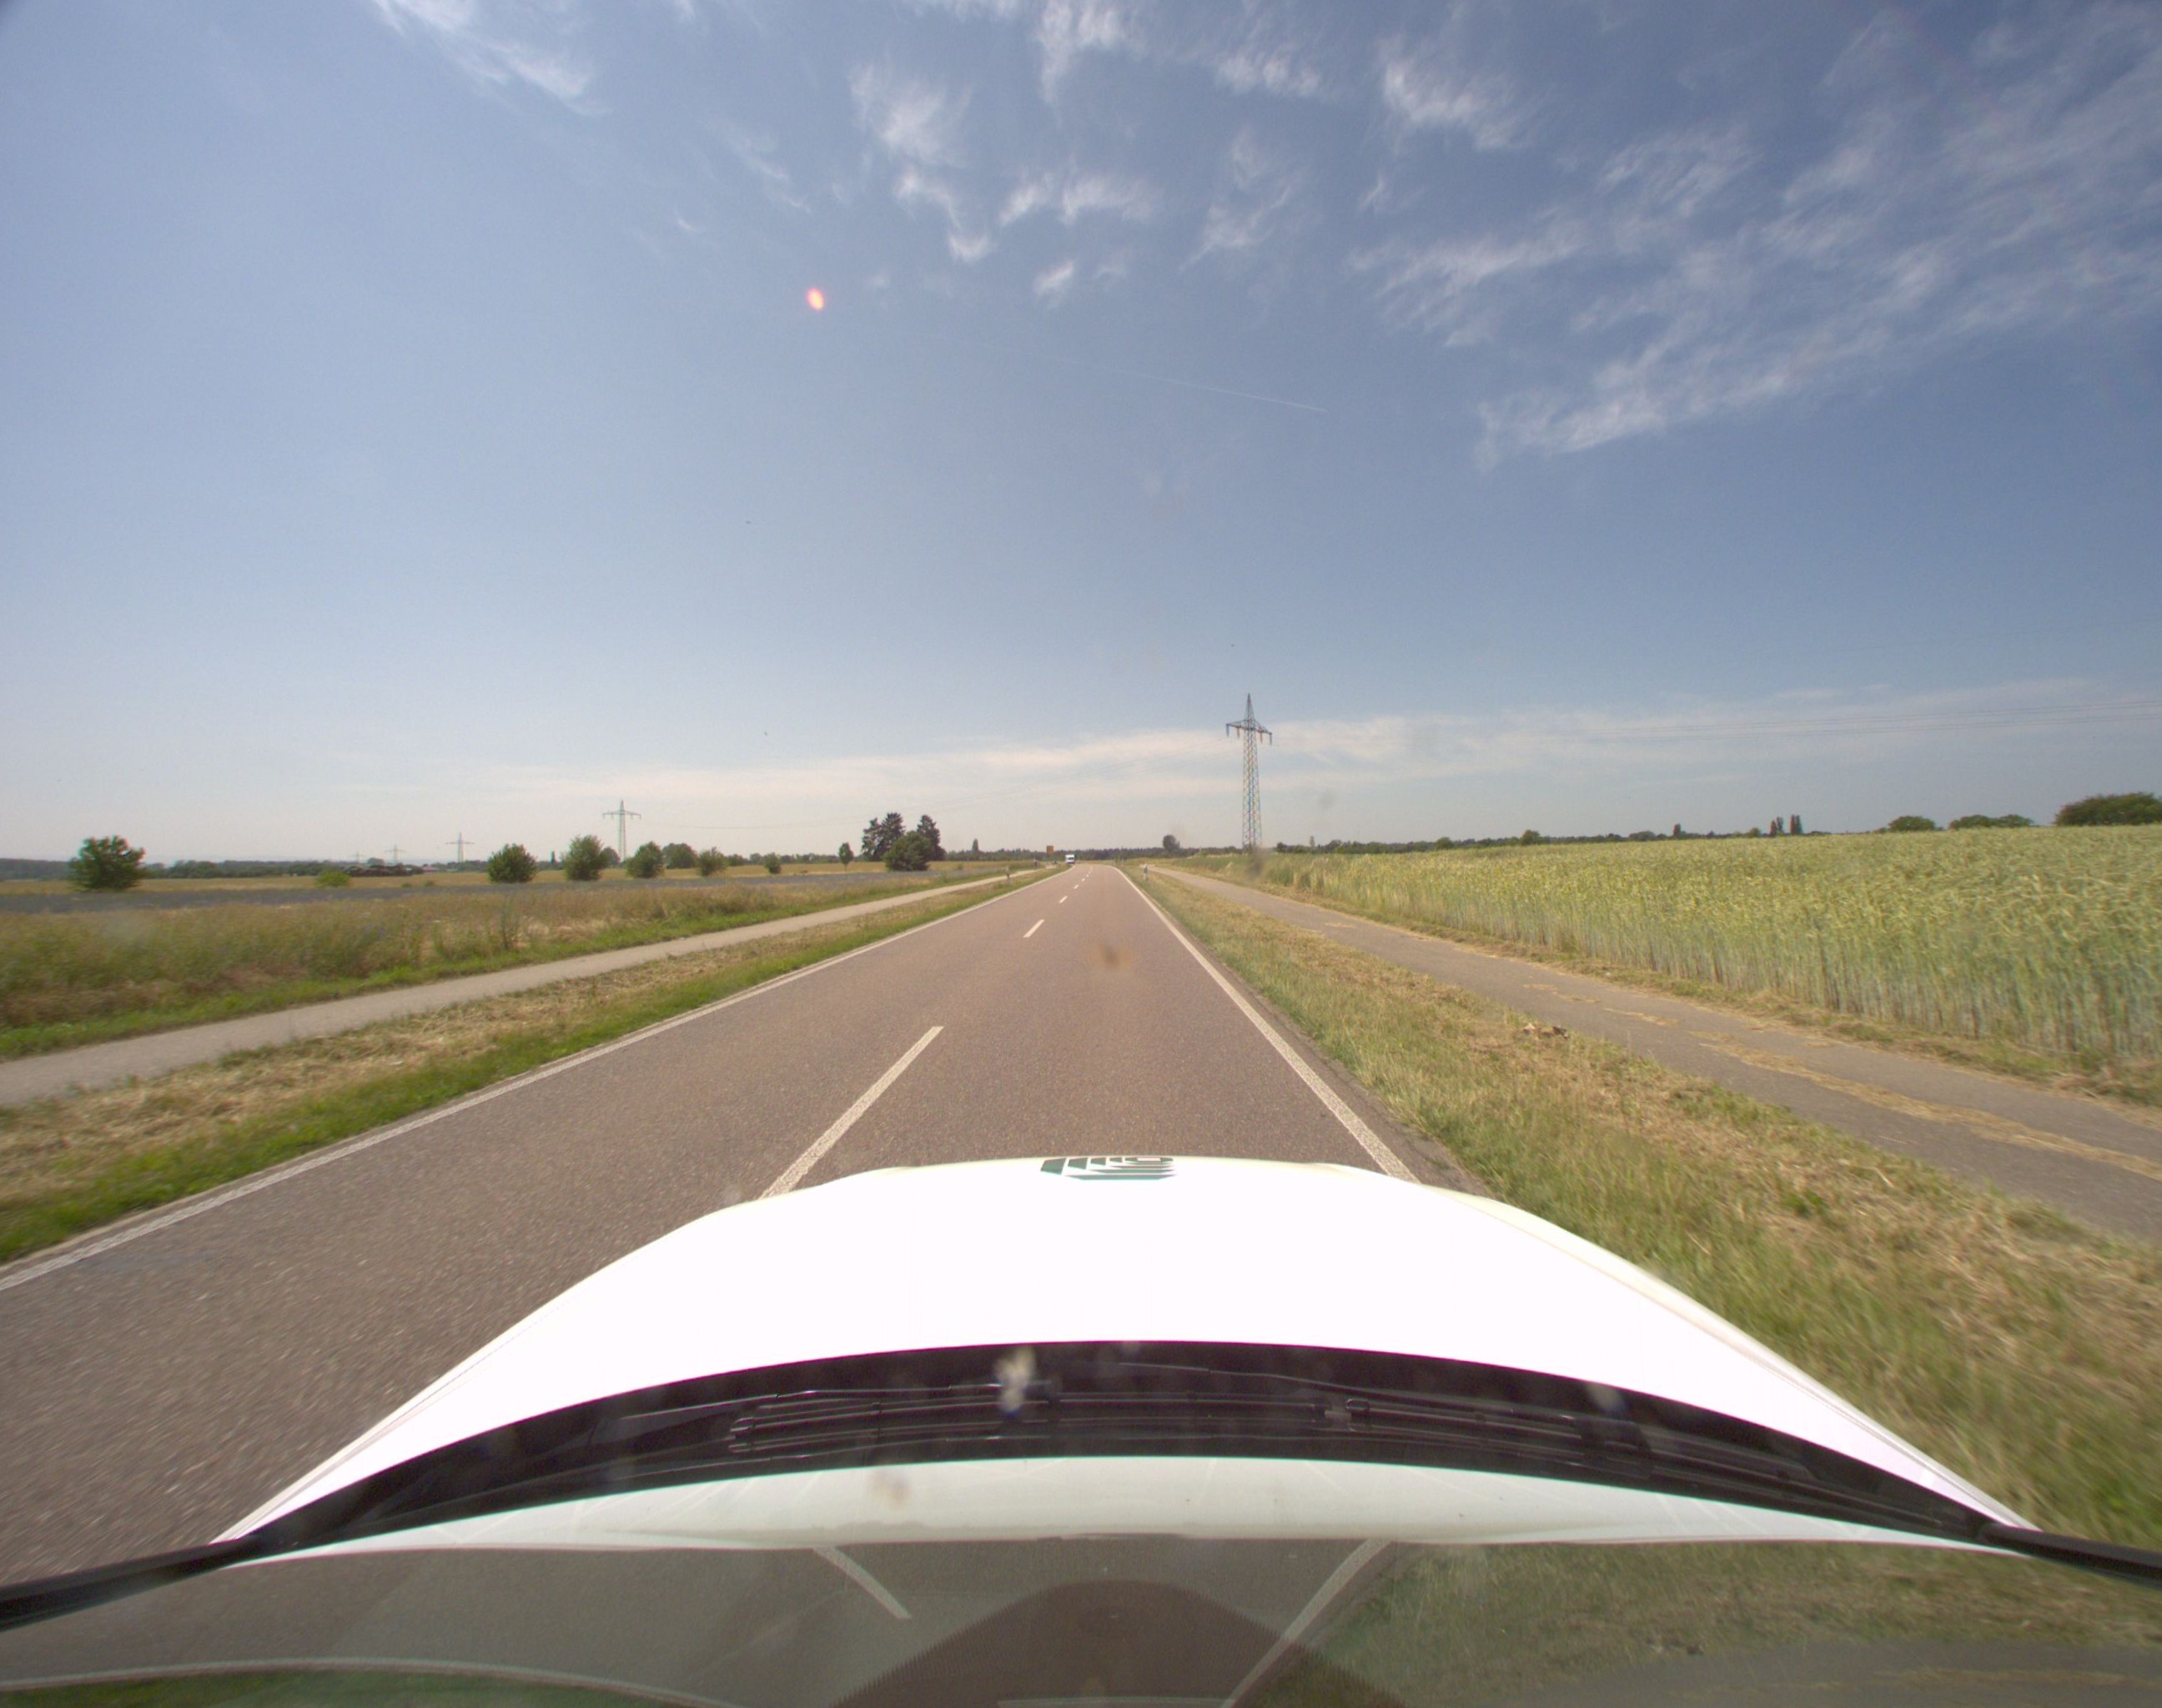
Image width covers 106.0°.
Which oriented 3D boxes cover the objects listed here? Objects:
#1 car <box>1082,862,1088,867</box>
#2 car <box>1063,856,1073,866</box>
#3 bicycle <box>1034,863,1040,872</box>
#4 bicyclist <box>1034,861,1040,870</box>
[{"bbox_3d":[1.243,3.100,241.577,1.618,1.491,3.999,-1,0,0],"label":"car"},{"bbox_3d":[-3.652,1.978,228.846,2.389,2.847,7.629,-2,-1,1],"label":"car"},{"bbox_3d":[-6.504,1.987,120.376,0.760,1.229,2.216,-2,0,1],"label":"bicycle"},{"bbox_3d":[-6.523,1.660,120.312,0.699,1.331,0.965,-2,-1,1],"label":"bicyclist"}]
